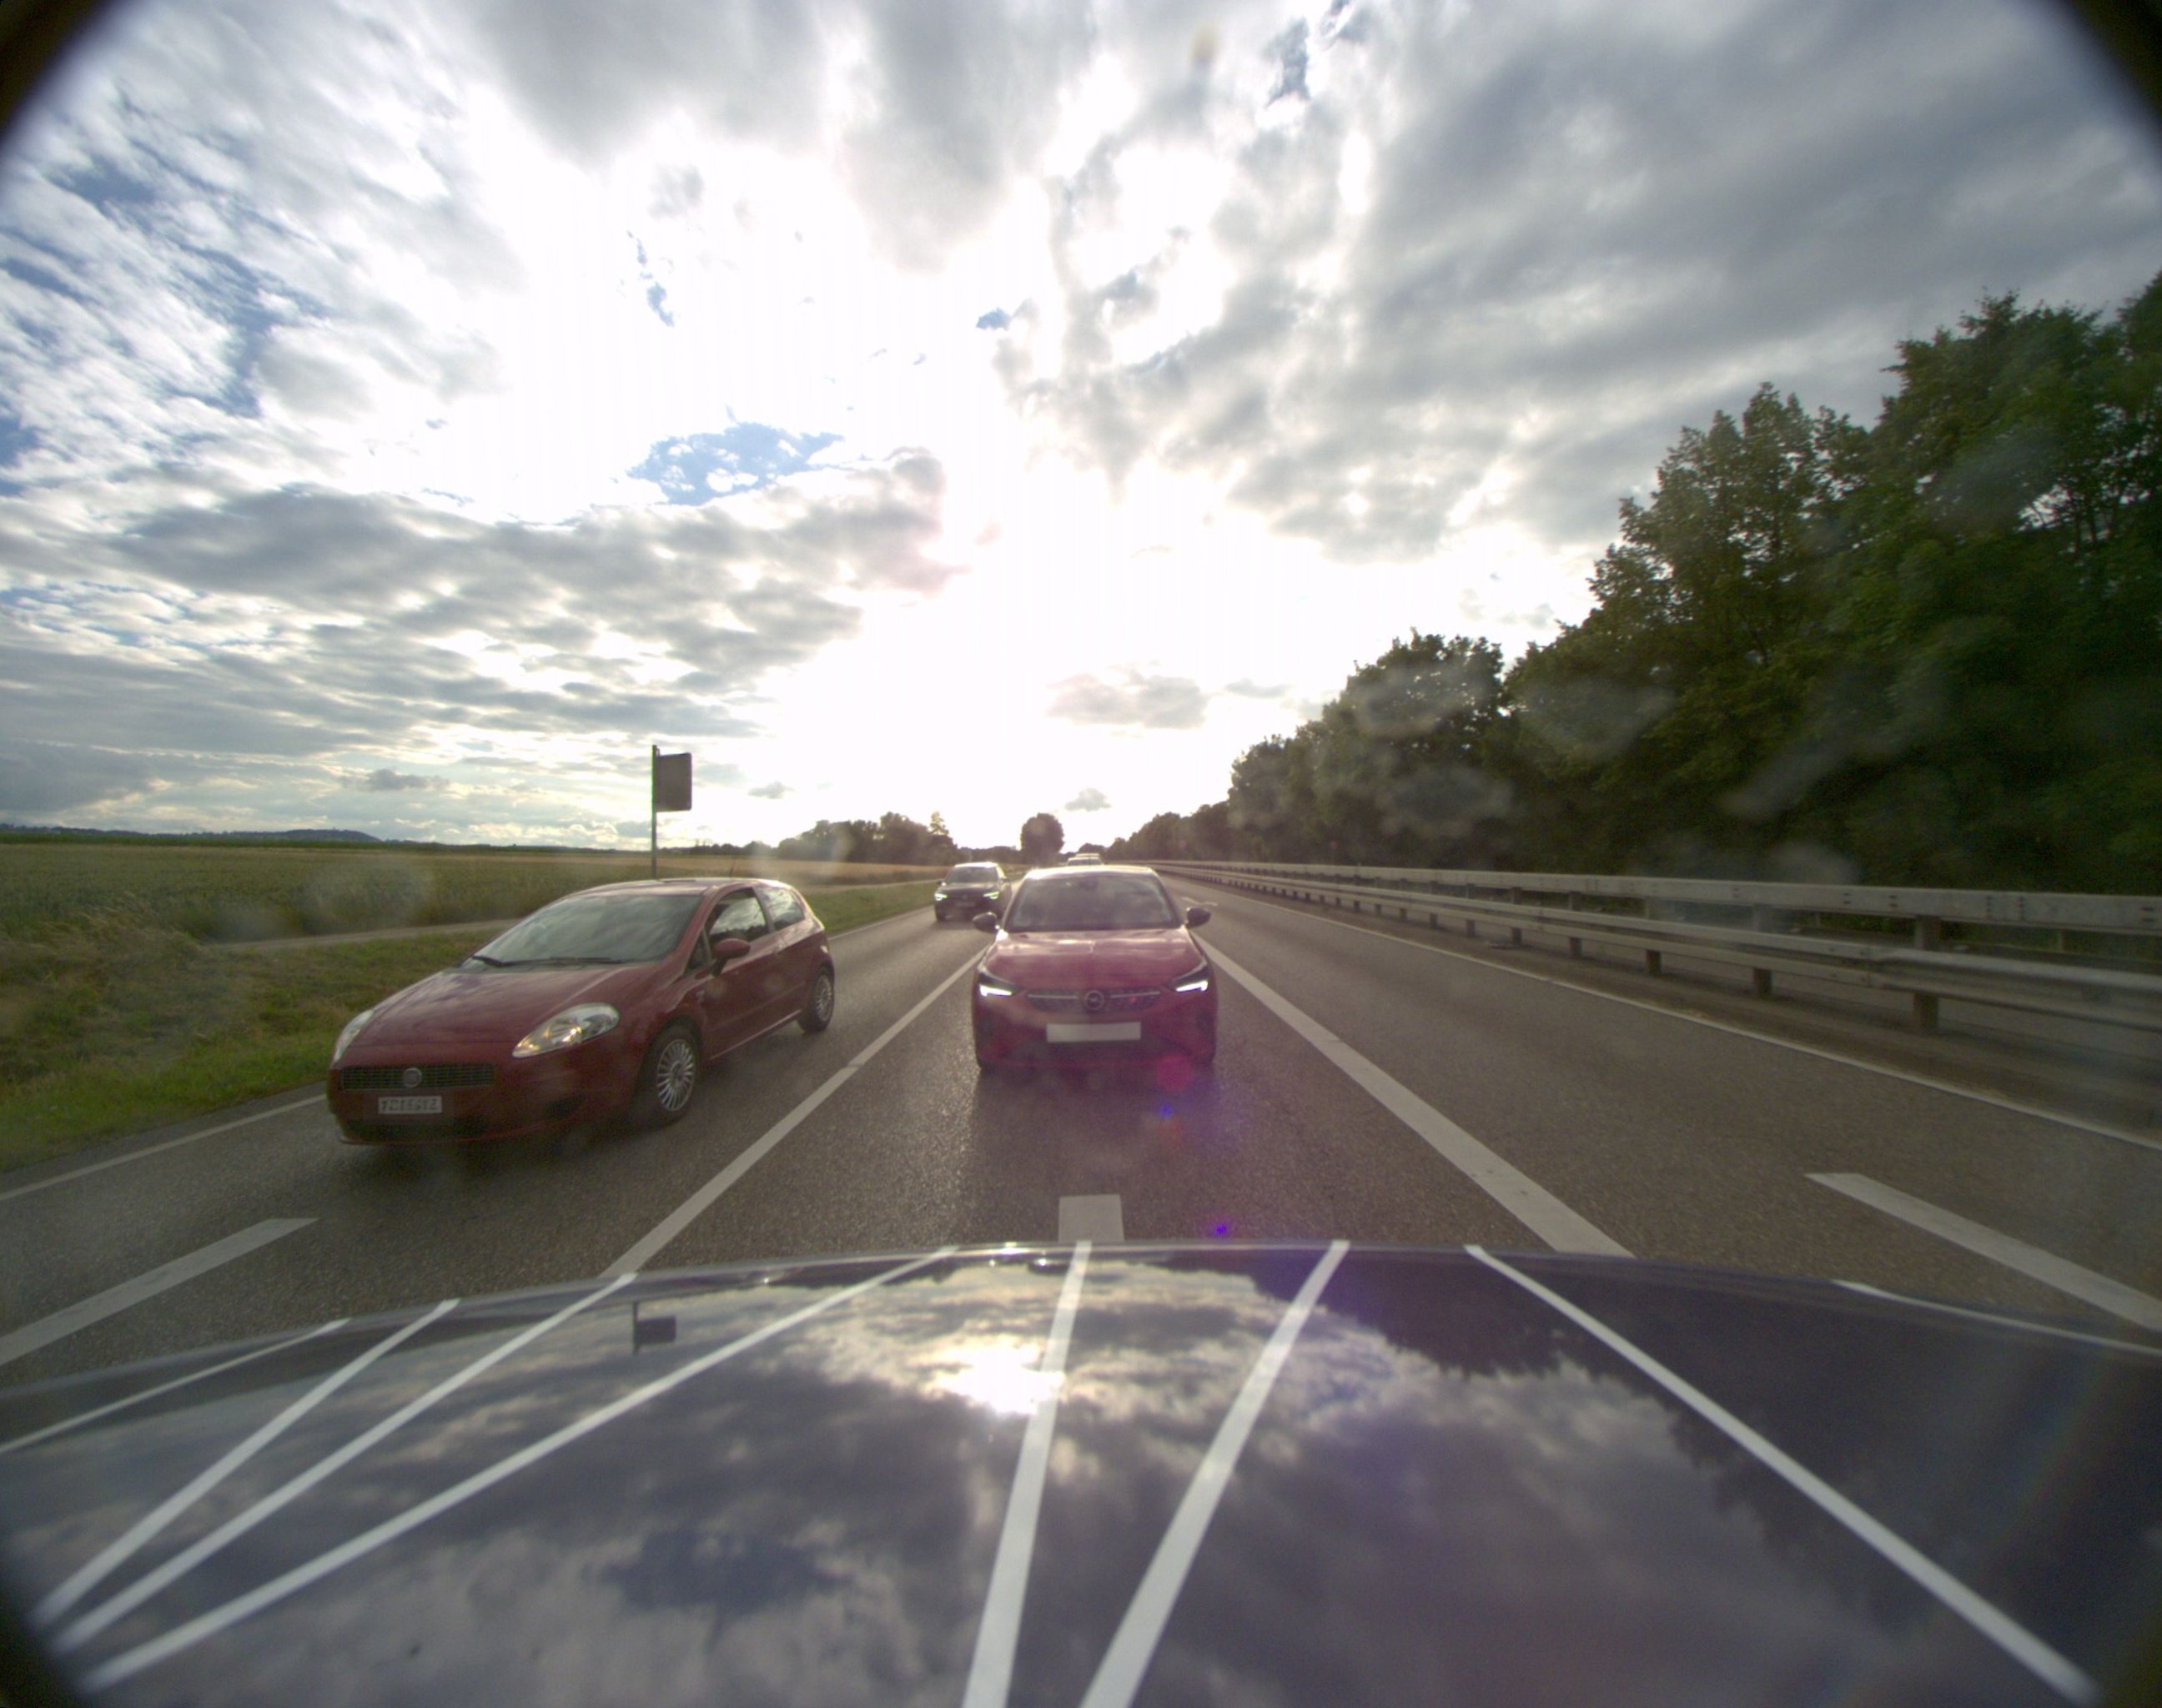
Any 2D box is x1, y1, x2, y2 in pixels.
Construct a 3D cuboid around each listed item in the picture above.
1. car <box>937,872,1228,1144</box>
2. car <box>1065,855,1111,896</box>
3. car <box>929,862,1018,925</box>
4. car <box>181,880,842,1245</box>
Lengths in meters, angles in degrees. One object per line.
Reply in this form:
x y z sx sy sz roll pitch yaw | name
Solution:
0.040 0.989 6.656 1.712 1.448 4.061 -2 1 1 | car
0.305 0.847 31.264 1.712 1.448 4.061 -2 1 1 | car
-2.881 1.028 21.206 1.799 1.448 4.032 -2 1 1 | car
-3.249 1.042 5.474 1.712 1.448 3.908 -2 1 1 | car
